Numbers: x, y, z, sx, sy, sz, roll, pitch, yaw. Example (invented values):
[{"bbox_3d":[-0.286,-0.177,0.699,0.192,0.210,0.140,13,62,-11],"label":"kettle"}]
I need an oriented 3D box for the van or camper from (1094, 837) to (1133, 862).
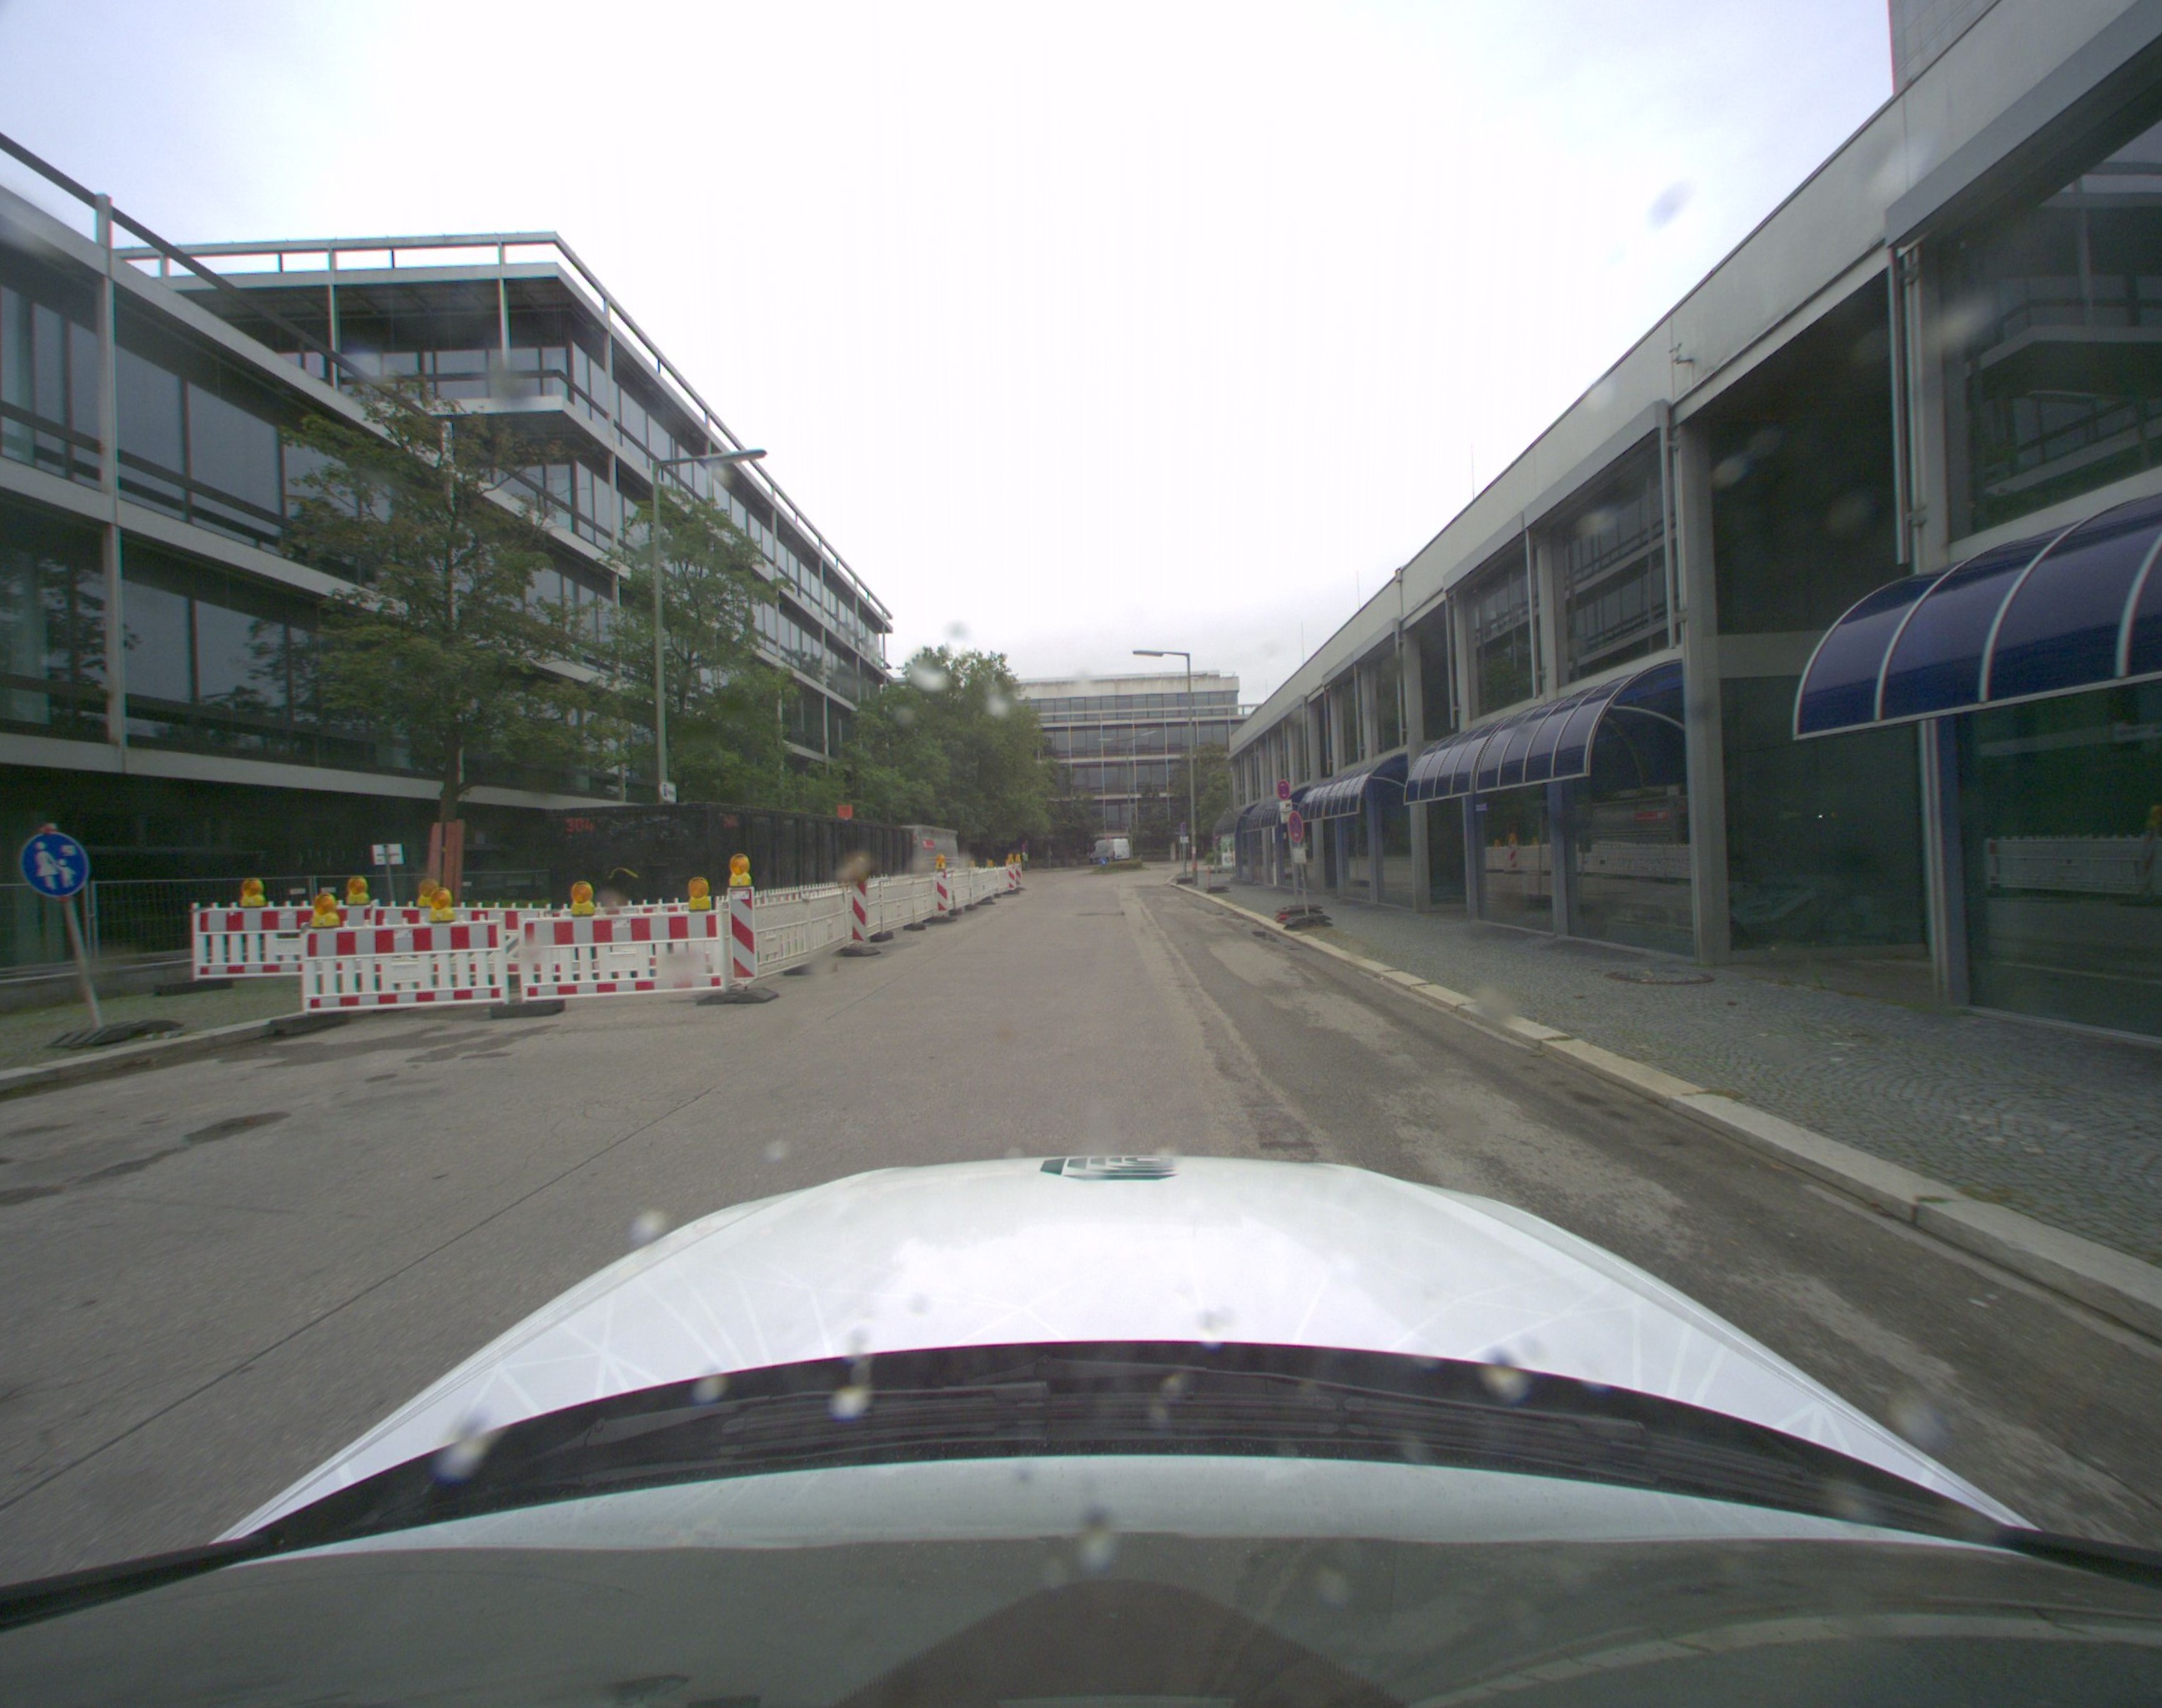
[{"bbox_3d":[3.374,-0.479,86.698,2.095,2.492,5.027,-2,0,-24],"label":"van or camper"}]

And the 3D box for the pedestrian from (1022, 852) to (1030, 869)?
[{"bbox_3d":[-5.781,0.680,85.617,0.743,1.677,0.678,-2,0,-18],"label":"pedestrian"}]
